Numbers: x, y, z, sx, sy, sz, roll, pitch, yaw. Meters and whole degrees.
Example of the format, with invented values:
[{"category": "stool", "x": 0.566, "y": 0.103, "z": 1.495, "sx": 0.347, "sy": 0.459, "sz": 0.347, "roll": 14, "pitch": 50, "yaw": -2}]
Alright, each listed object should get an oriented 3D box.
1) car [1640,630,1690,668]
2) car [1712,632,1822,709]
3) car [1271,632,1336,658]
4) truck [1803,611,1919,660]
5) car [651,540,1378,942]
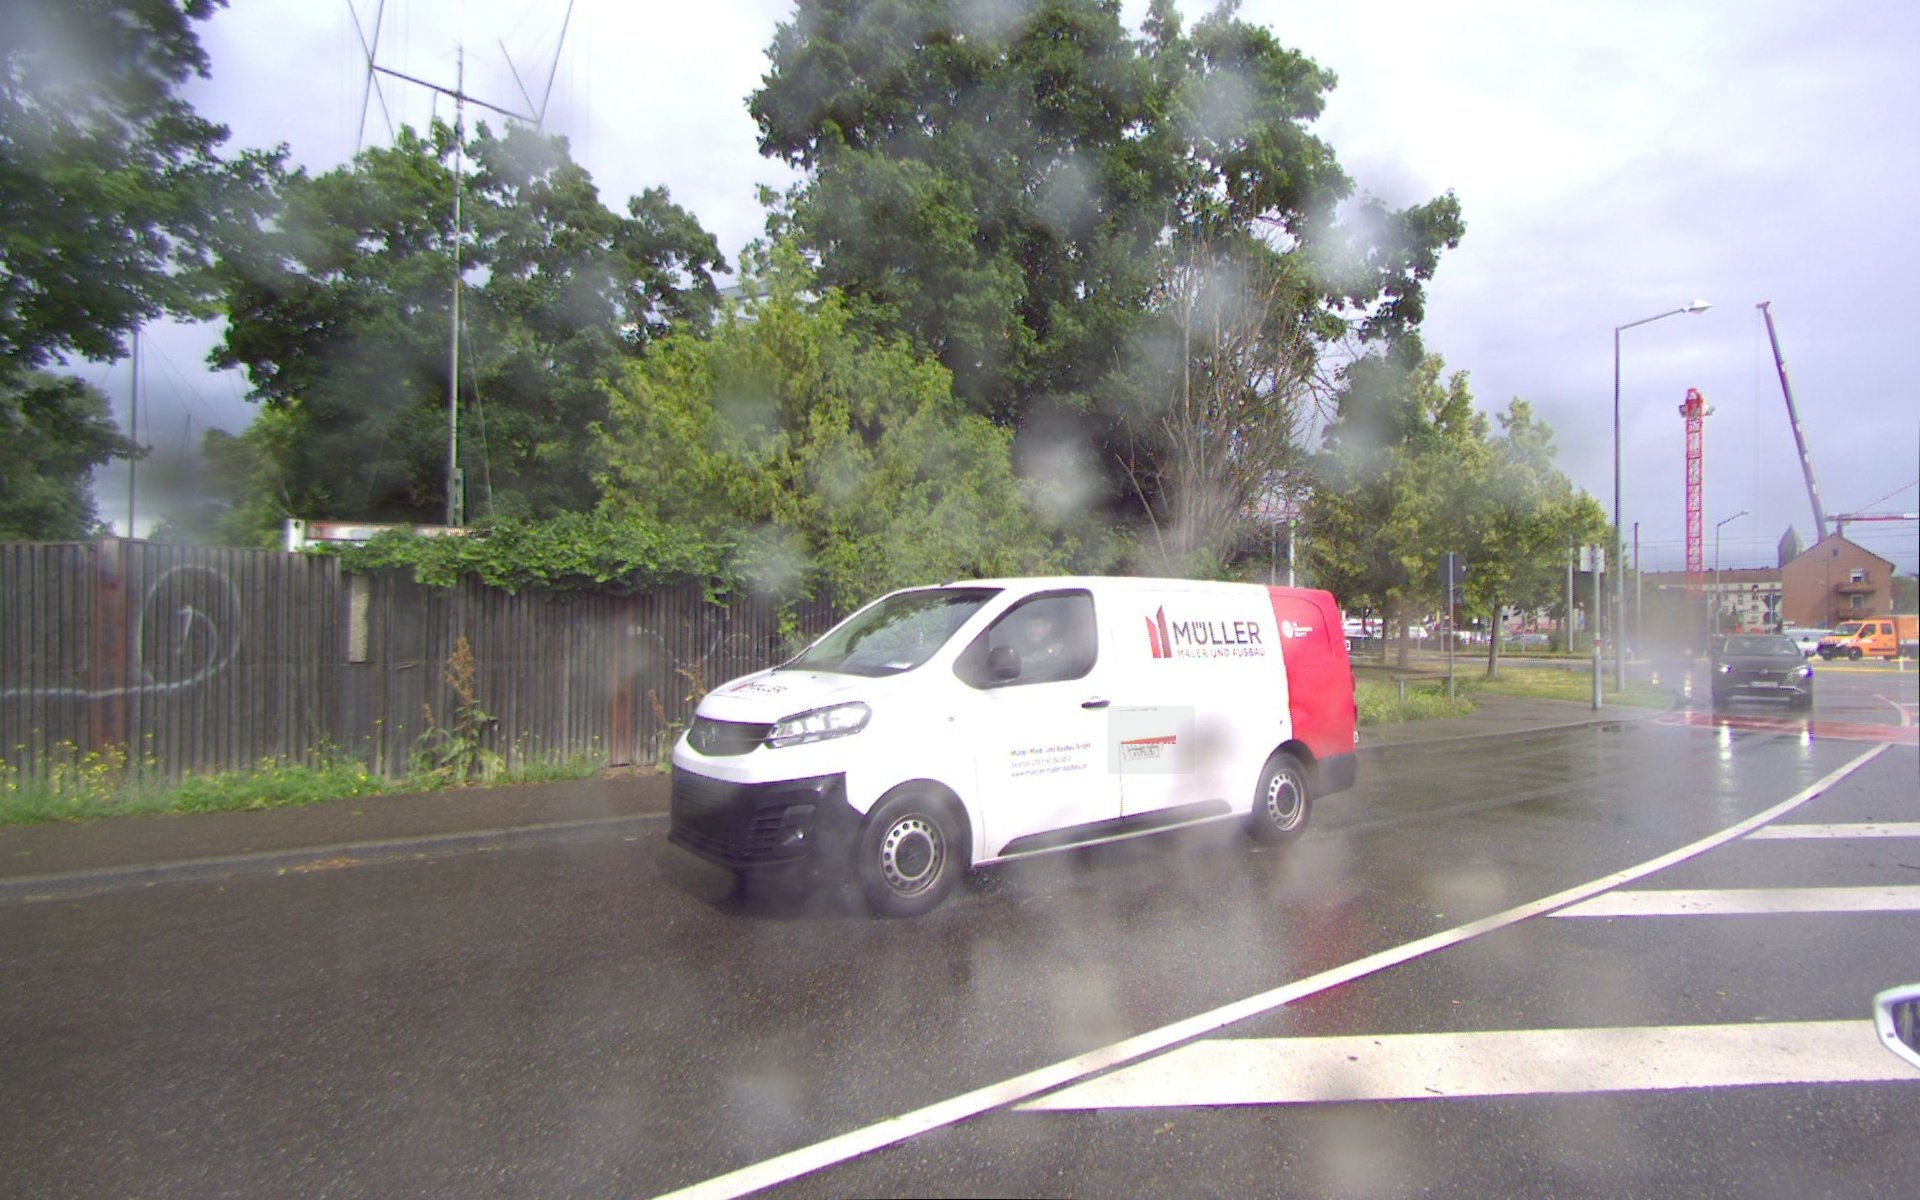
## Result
[{"category": "car", "x": 32.542, "y": 2.227, "z": 46.425, "sx": 1.542, "sy": 1.670, "sz": 3.647, "roll": 0, "pitch": -1, "yaw": 29}, {"category": "car", "x": 19.528, "y": 1.626, "z": 24.245, "sx": 1.716, "sy": 1.686, "sz": 4.084, "roll": 0, "pitch": -2, "yaw": 44}, {"category": "car", "x": 24.369, "y": 3.176, "z": 71.476, "sx": 1.613, "sy": 1.649, "sz": 4.373, "roll": 1, "pitch": -1, "yaw": -32}, {"category": "truck", "x": 53.085, "y": 2.049, "z": 57.877, "sx": 6.948, "sy": 2.685, "sz": 2.330, "roll": 1, "pitch": -1, "yaw": 2}, {"category": "car", "x": 0.654, "y": 0.767, "z": 7.052, "sx": 5.084, "sy": 1.900, "sz": 1.875, "roll": 2, "pitch": -3, "yaw": -37}]
